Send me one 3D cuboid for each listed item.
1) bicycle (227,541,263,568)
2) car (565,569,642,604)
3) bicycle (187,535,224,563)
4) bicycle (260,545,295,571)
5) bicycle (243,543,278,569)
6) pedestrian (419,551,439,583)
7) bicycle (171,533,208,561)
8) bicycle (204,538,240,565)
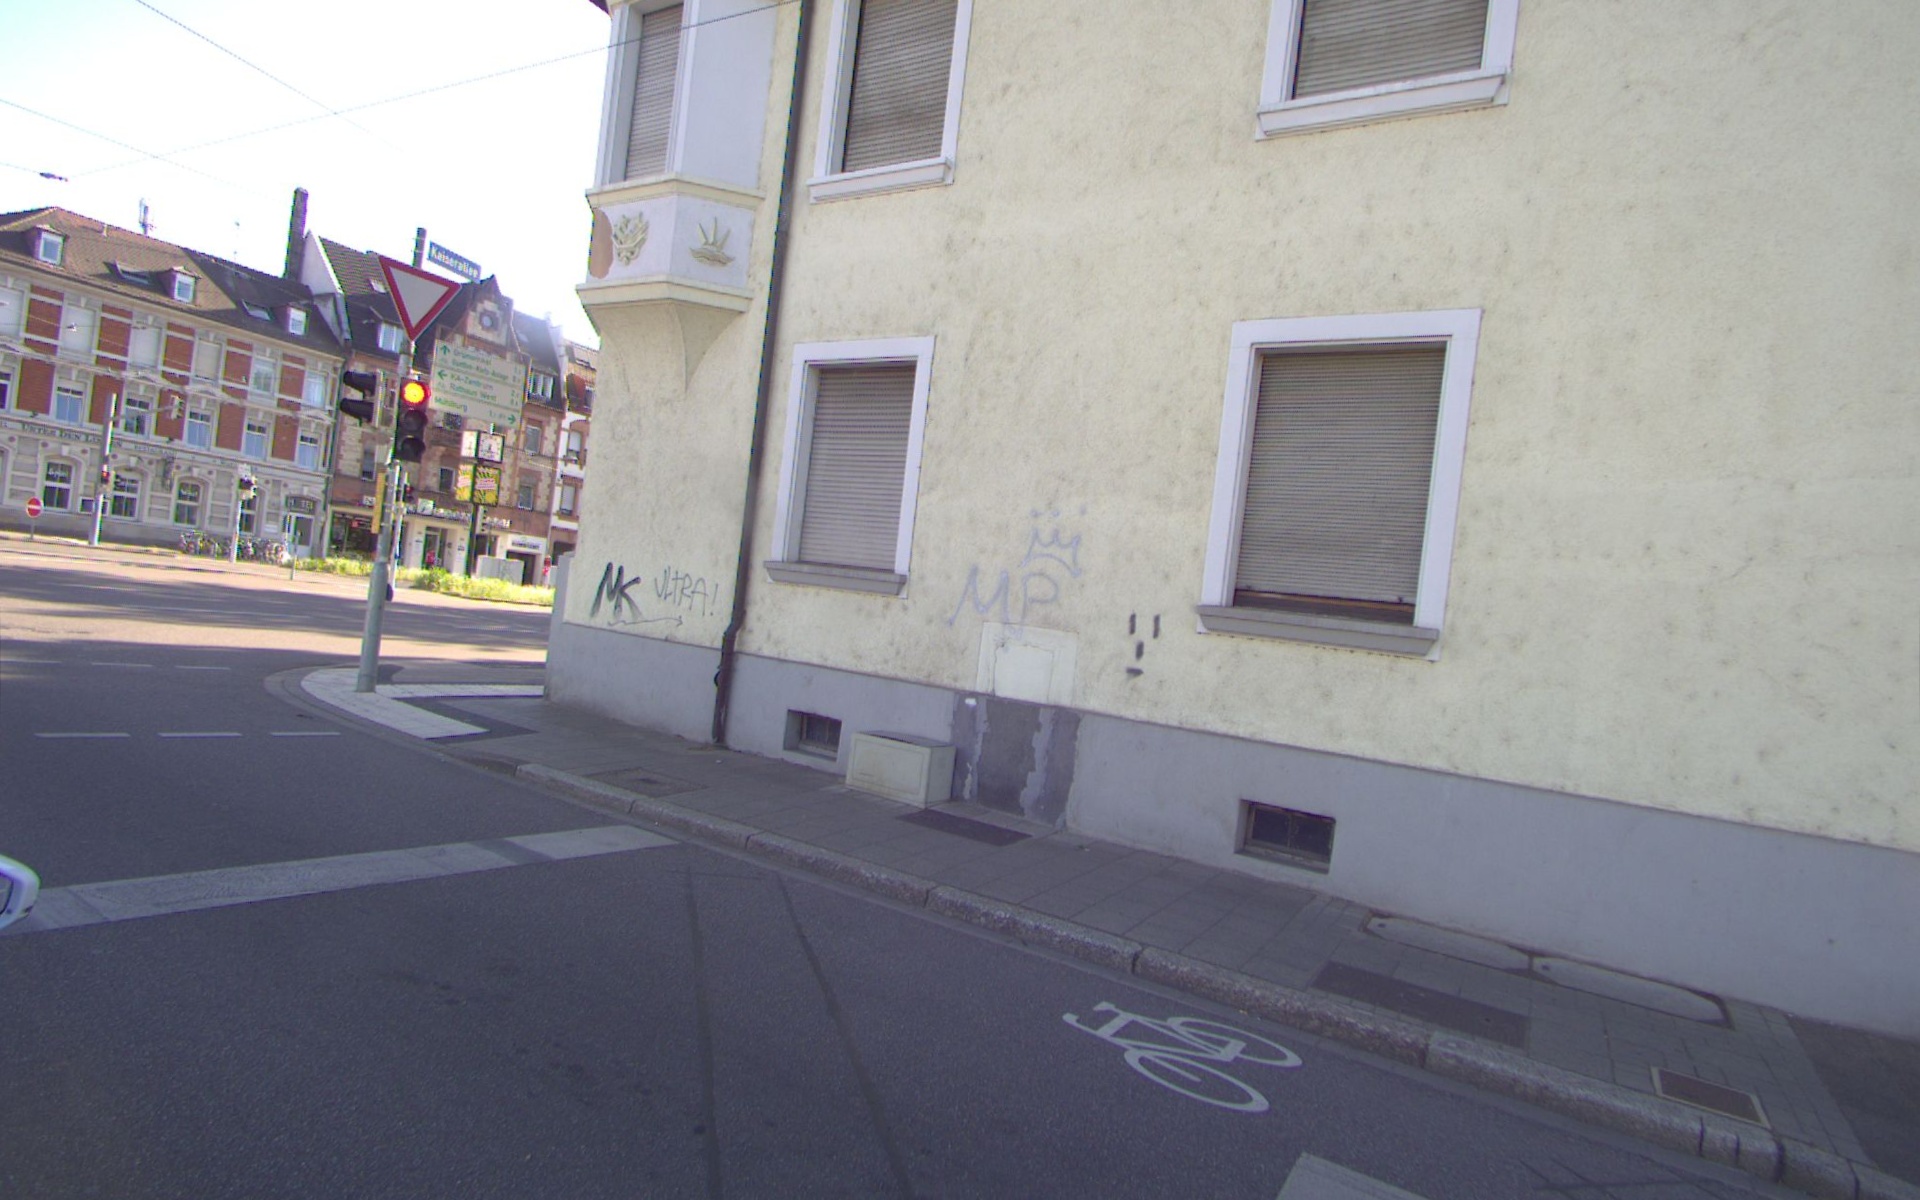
[{"bbox_3d":[-33.637,-2.156,47.335,1.614,1.064,0.606,7,0,27],"label":"bicycle"},{"bbox_3d":[-23.110,-0.871,65.303,1.966,1.674,4.378,7,-1,29],"label":"car"},{"bbox_3d":[-34.634,-2.333,46.189,1.614,1.064,0.606,7,0,27],"label":"bicycle"},{"bbox_3d":[-32.969,-2.018,48.583,1.614,1.064,0.606,7,0,27],"label":"bicycle"},{"bbox_3d":[-33.343,-2.093,47.945,1.614,1.064,0.606,7,0,27],"label":"bicycle"},{"bbox_3d":[-30.677,-1.887,58.109,0.414,1.773,0.709,7,0,33],"label":"pedestrian"},{"bbox_3d":[-34.933,-2.396,45.607,1.614,1.064,0.606,7,0,27],"label":"bicycle"},{"bbox_3d":[-34.303,-2.267,46.765,1.614,1.064,0.606,7,0,27],"label":"bicycle"}]
